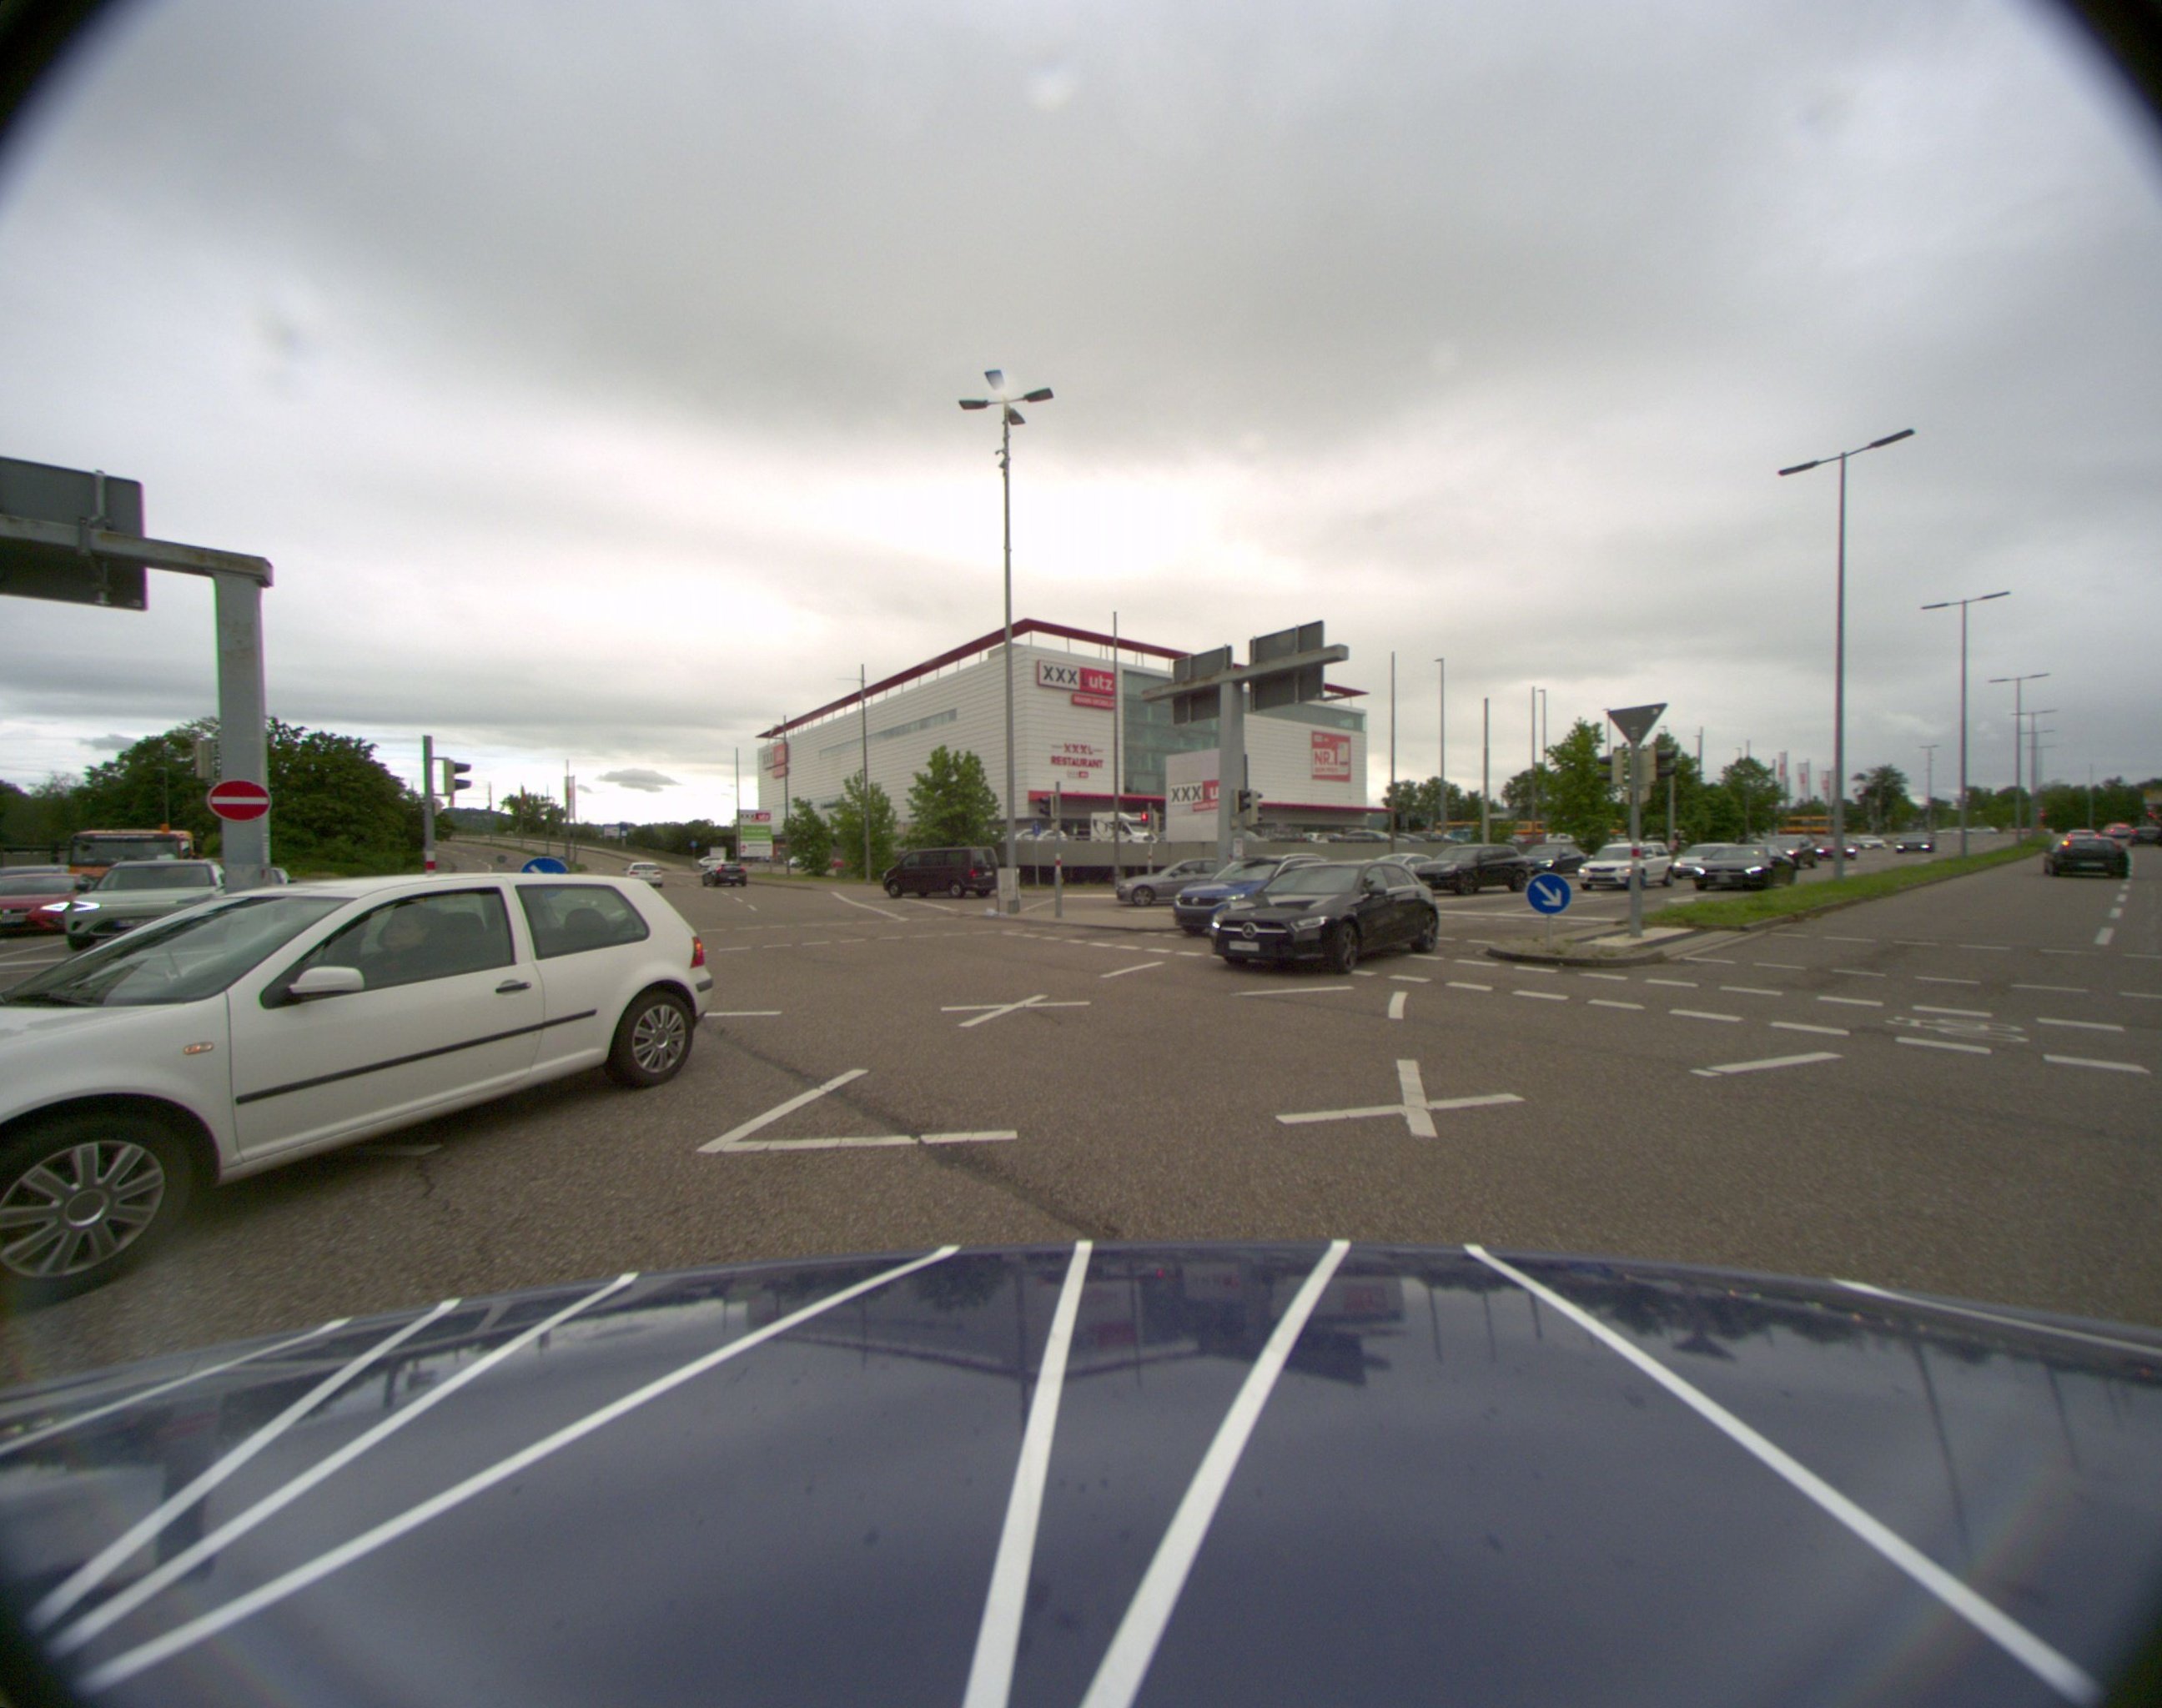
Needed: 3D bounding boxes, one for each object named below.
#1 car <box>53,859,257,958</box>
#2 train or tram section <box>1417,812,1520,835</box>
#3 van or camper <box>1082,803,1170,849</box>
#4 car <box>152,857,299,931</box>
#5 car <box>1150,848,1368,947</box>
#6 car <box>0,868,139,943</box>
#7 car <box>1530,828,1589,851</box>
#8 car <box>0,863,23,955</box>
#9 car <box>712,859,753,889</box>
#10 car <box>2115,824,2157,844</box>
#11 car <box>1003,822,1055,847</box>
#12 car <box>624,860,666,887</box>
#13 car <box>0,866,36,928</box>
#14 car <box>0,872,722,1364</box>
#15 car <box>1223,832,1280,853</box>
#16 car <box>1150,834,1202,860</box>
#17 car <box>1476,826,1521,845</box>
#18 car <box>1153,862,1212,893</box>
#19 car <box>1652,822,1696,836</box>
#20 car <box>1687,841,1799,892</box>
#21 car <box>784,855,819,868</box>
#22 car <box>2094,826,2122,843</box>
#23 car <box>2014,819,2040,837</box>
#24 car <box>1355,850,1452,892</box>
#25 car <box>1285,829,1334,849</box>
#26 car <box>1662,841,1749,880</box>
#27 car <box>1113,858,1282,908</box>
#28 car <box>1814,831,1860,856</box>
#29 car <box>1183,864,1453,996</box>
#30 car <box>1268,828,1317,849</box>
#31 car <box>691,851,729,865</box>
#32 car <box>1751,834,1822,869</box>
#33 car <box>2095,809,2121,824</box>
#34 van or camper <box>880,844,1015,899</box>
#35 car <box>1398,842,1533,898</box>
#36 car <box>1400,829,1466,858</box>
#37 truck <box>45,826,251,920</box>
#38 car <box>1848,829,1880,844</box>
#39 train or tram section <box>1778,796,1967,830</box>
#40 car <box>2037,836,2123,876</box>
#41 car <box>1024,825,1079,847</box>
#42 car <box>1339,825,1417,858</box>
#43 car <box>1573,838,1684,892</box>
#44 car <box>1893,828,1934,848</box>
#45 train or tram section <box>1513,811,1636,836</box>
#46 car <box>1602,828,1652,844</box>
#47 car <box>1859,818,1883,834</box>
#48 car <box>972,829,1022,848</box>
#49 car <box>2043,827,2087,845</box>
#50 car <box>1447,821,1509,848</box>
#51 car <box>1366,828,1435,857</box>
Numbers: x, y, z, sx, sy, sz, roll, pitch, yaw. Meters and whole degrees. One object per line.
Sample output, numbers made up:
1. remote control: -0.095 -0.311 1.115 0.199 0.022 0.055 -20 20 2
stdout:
1. car: -18.392 1.005 15.328 1.909 1.634 4.057 -3 0 -41
2. train or tram section: 96.164 -7.396 189.464 3.639 4.811 23.222 -3 1 -39
3. van or camper: 3.328 -2.077 58.637 2.719 3.117 7.218 -3 0 -36
4. car: -23.693 1.050 21.249 2.004 1.758 4.410 -3 0 -40
5. car: 3.687 0.775 15.411 4.339 1.612 1.843 -3 0 -35
6. car: -24.926 1.213 18.276 2.004 1.592 3.990 -3 0 -39
7. car: 46.210 -1.392 73.467 2.003 2.002 4.315 -3 0 -38
8. car: -20.542 1.045 12.823 2.004 1.758 4.410 -3 0 -40
9. car: -20.387 1.174 44.326 1.907 1.440 4.173 -4 -2 -27
10. car: 91.493 -1.785 65.958 4.369 1.647 1.843 -3 4 -39
11. car: -4.594 -1.745 67.311 4.006 2.002 1.995 -3 0 -35
12. car: -24.958 1.135 43.586 1.838 1.401 4.189 2 -3 -27
13. car: -31.536 1.250 21.057 2.004 1.758 4.139 -3 0 -40
14. car: -4.073 0.931 3.836 1.835 1.469 4.009 -2 0 16
15. car: 13.171 -0.908 58.851 1.873 1.429 3.984 -3 0 -39
16. car: 7.568 -0.539 60.729 1.873 1.936 3.858 -3 0 -39
17. car: 47.593 -2.115 86.677 2.003 2.002 3.990 -3 0 -38
18. car: 7.439 1.671 55.500 4.007 2.002 1.995 -3 1 -40
19. car: 73.347 -3.093 94.011 1.799 1.556 3.990 -3 0 -36
20. car: 21.089 0.377 24.154 4.266 1.370 1.764 -3 0 -36
21. car: -39.060 1.019 106.350 4.205 1.601 1.718 -2 0 -39
22. car: 121.835 -2.350 90.163 3.932 1.875 1.844 -3 0 -38
23. car: 119.561 -3.285 96.053 4.007 2.207 1.994 -2 2 -39
24. car: 12.445 0.625 29.228 3.933 1.364 1.691 -3 0 -38
25. car: 21.767 -1.433 72.361 2.003 1.729 3.990 -3 0 -39
26. car: 26.402 0.256 32.073 4.226 1.407 1.798 -3 0 -36
27. car: 3.523 0.871 23.524 4.875 1.402 1.817 -1 0 -3
28. car: 48.276 -0.694 48.496 4.227 1.407 1.798 -3 0 -42
29. car: 3.546 0.928 10.912 4.205 1.426 1.855 -1 -1 -43
30. car: 19.654 -1.400 70.716 2.003 1.729 3.990 -3 0 -39
31. car: -47.595 0.559 97.539 4.204 1.601 1.718 -2 0 -32
32. car: 35.025 -0.139 37.699 4.226 1.565 1.798 -3 0 -36
33. car: 129.232 -4.698 95.636 3.932 1.709 1.844 -3 0 -38
34. van or camper: -5.250 0.668 29.727 4.929 2.001 2.169 0 -1 30
35. car: 13.107 0.509 25.870 4.380 1.615 1.796 -3 0 -27
36. car: 26.658 -0.800 57.559 2.003 2.002 3.990 -3 0 -38
37. truck: -30.468 0.598 25.197 2.826 2.623 6.657 -3 0 -38
38. car: 84.436 -1.917 81.904 4.226 1.407 1.798 -3 0 -36
39. train or tram section: 140.492 -7.155 135.810 3.639 4.811 23.222 -3 1 -39
40. car: 36.544 0.052 27.778 4.007 1.364 1.722 -1 2 -35
41. car: -2.460 -1.559 64.122 4.267 1.666 1.772 -3 0 -36
42. car: 20.322 -0.849 52.147 2.003 2.002 4.520 -3 0 -39
43. car: 19.148 0.343 26.511 4.381 1.615 1.795 -3 0 -35
44. car: 68.056 -1.314 62.108 4.226 1.407 1.798 -3 0 -36
45. train or tram section: 110.970 -6.746 171.671 3.639 4.811 23.222 -3 1 -39
46. car: 59.686 -1.941 83.079 1.799 1.556 3.990 -3 0 -36
47. car: 109.722 -3.859 105.490 4.007 2.230 1.994 -2 2 -39
48. car: -7.949 -1.453 71.914 4.267 1.666 1.772 -3 0 -36
49. car: 81.636 -1.531 63.052 3.939 1.444 1.782 -2 2 -31
50. car: 32.203 -1.575 61.704 2.003 2.002 3.990 -3 0 -38
51. car: 22.673 -0.790 54.010 2.003 1.838 3.990 -3 0 -39
